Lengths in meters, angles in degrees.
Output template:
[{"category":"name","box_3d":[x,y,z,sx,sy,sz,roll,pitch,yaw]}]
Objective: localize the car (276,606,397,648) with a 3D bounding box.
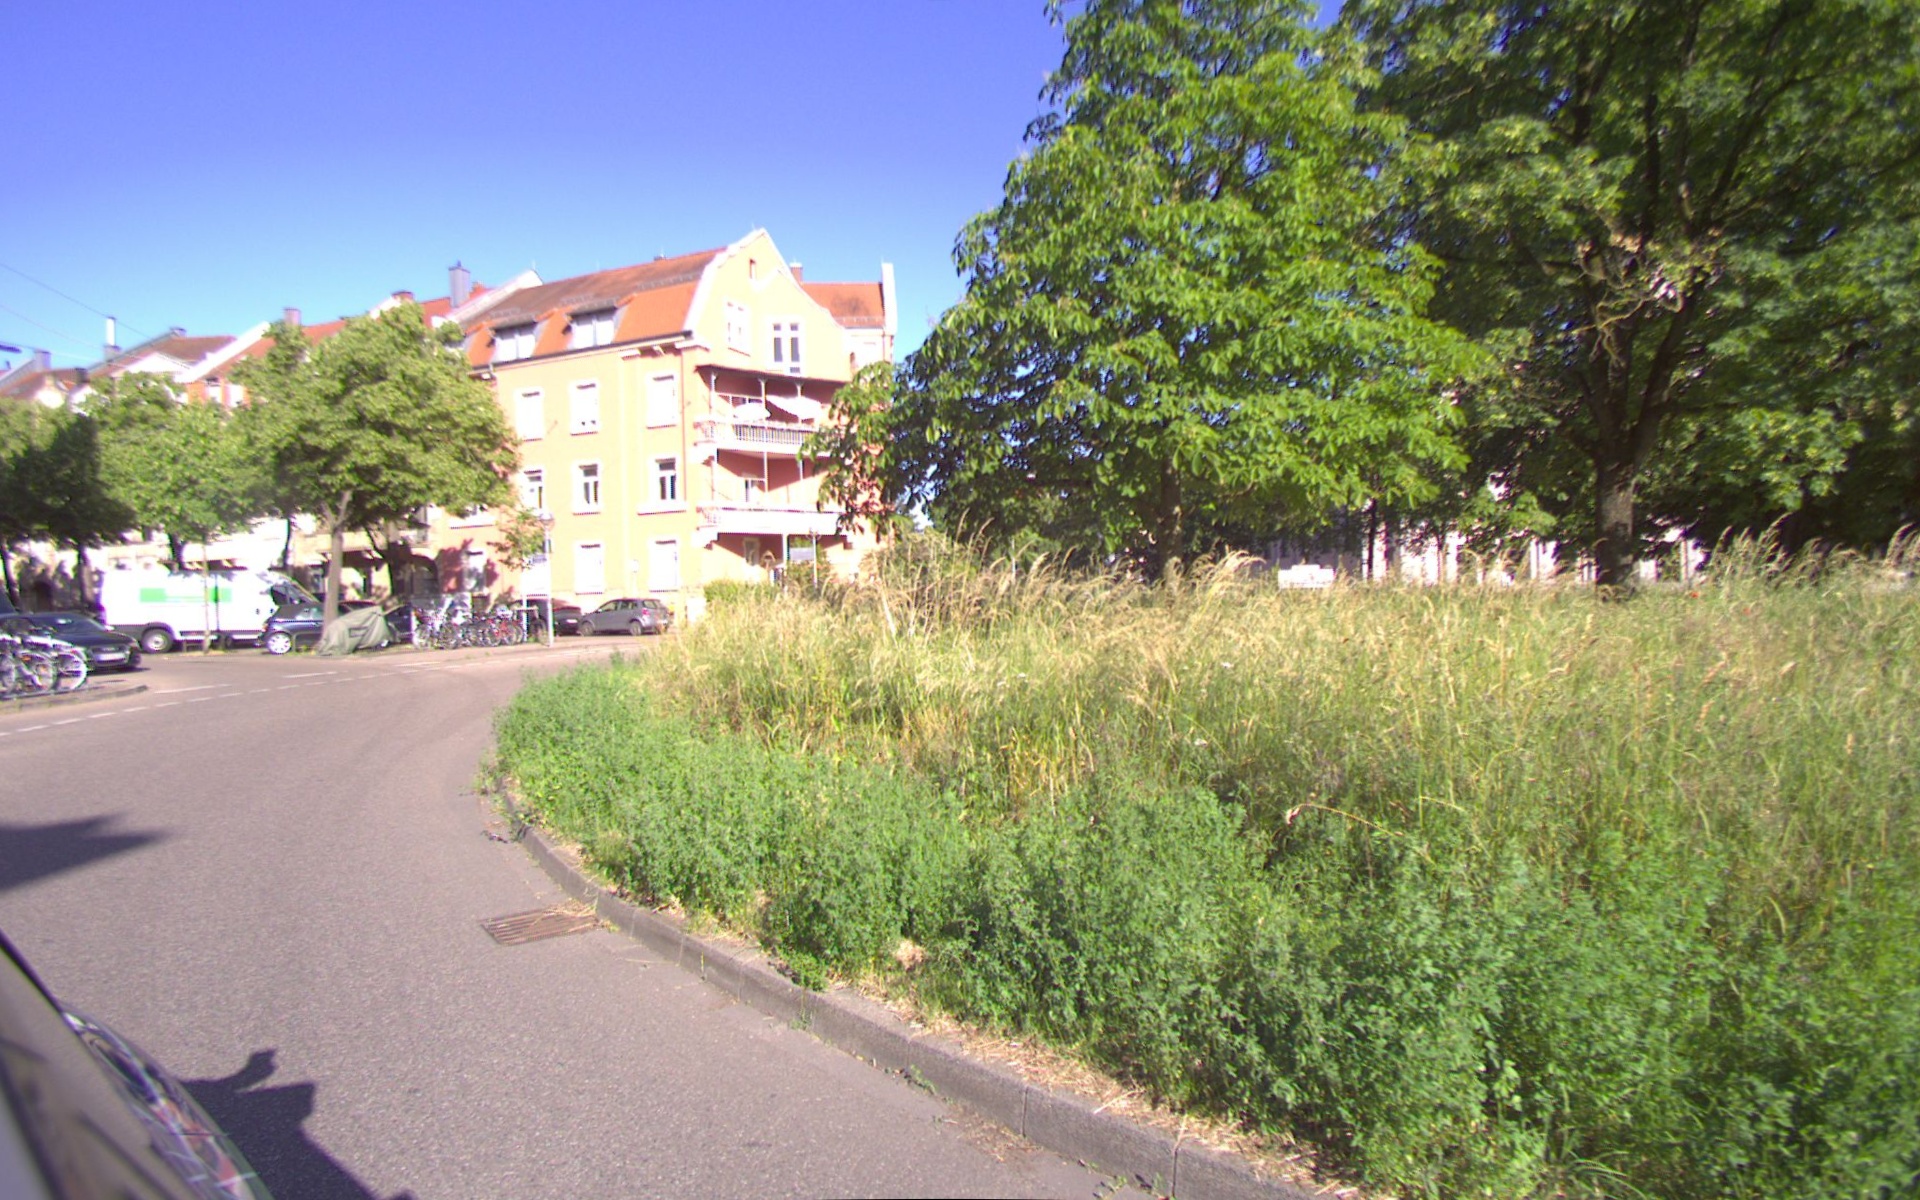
[{"category":"car","box_3d":[-22.427,0.955,36.485,1.685,1.457,3.341,-2,-1,37]}]

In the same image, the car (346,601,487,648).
[{"category":"car","box_3d":[-18.036,0.793,33.648,3.861,1.457,1.690,0,-1,-42]}]

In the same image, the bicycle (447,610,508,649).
[{"category":"bicycle","box_3d":[-14.250,0.882,29.891,1.720,1.097,0.652,-2,1,25]}]

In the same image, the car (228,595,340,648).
[{"category":"car","box_3d":[-24.851,0.776,37.250,3.329,1.879,1.692,0,-1,-37]}]

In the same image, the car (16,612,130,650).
[{"category":"car","box_3d":[-37.456,1.298,42.842,3.325,1.481,1.693,0,-1,-28]}]

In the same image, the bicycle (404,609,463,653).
[{"category":"bicycle","box_3d":[-14.846,0.871,28.528,1.670,1.202,0.534,-2,1,25]}]

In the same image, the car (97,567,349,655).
[{"category":"car","box_3d":[-23.448,0.327,32.580,6.266,2.620,2.110,-1,-1,-26]}]

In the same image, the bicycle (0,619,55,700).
[{"category":"bicycle","box_3d":[-14.935,0.919,15.463,1.670,1.200,0.452,-1,0,-7]}]

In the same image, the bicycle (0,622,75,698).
[{"category":"bicycle","box_3d":[-14.998,0.948,15.886,1.670,1.132,0.484,-1,0,-7]}]

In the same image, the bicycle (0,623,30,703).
[{"category":"bicycle","box_3d":[-14.866,0.945,14.889,1.670,1.154,0.618,-1,0,-7]}]

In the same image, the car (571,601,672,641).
[{"category":"car","box_3d":[-13.216,0.832,39.495,3.524,1.457,1.675,-2,-1,24]}]

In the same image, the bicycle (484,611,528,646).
[{"category":"bicycle","box_3d":[-14.708,0.912,32.772,1.519,1.094,0.415,-1,2,28]}]

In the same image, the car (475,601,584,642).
[{"category":"car","box_3d":[-17.689,0.884,41.573,4.268,1.574,1.675,-2,-1,24]}]

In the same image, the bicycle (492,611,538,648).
[{"category":"bicycle","box_3d":[-13.868,0.917,31.531,1.519,1.094,0.415,-1,2,28]}]

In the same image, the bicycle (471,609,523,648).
[{"category":"bicycle","box_3d":[-13.947,0.858,30.468,1.641,1.110,0.496,-2,1,27]}]

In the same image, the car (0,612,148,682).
[{"category":"car","box_3d":[-20.269,1.028,22.502,3.893,1.400,1.677,-1,1,20]}]

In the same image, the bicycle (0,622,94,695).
[{"category":"bicycle","box_3d":[-15.112,0.947,16.372,1.693,1.132,0.484,-1,0,-4]}]

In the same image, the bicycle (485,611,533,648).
[{"category":"bicycle","box_3d":[-13.811,0.907,30.989,1.566,1.097,0.415,-1,1,27]}]

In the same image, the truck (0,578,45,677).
[{"category":"truck","box_3d":[-25.549,0.720,24.669,6.576,2.309,2.124,-1,1,22]}]

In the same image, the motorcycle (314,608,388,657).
[{"category":"motorcycle","box_3d":[-16.456,0.863,27.371,0.536,1.280,1.695,-1,-1,28]}]

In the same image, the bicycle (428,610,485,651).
[{"category":"bicycle","box_3d":[-14.560,0.885,29.256,1.593,1.135,0.584,-2,1,25]}]
